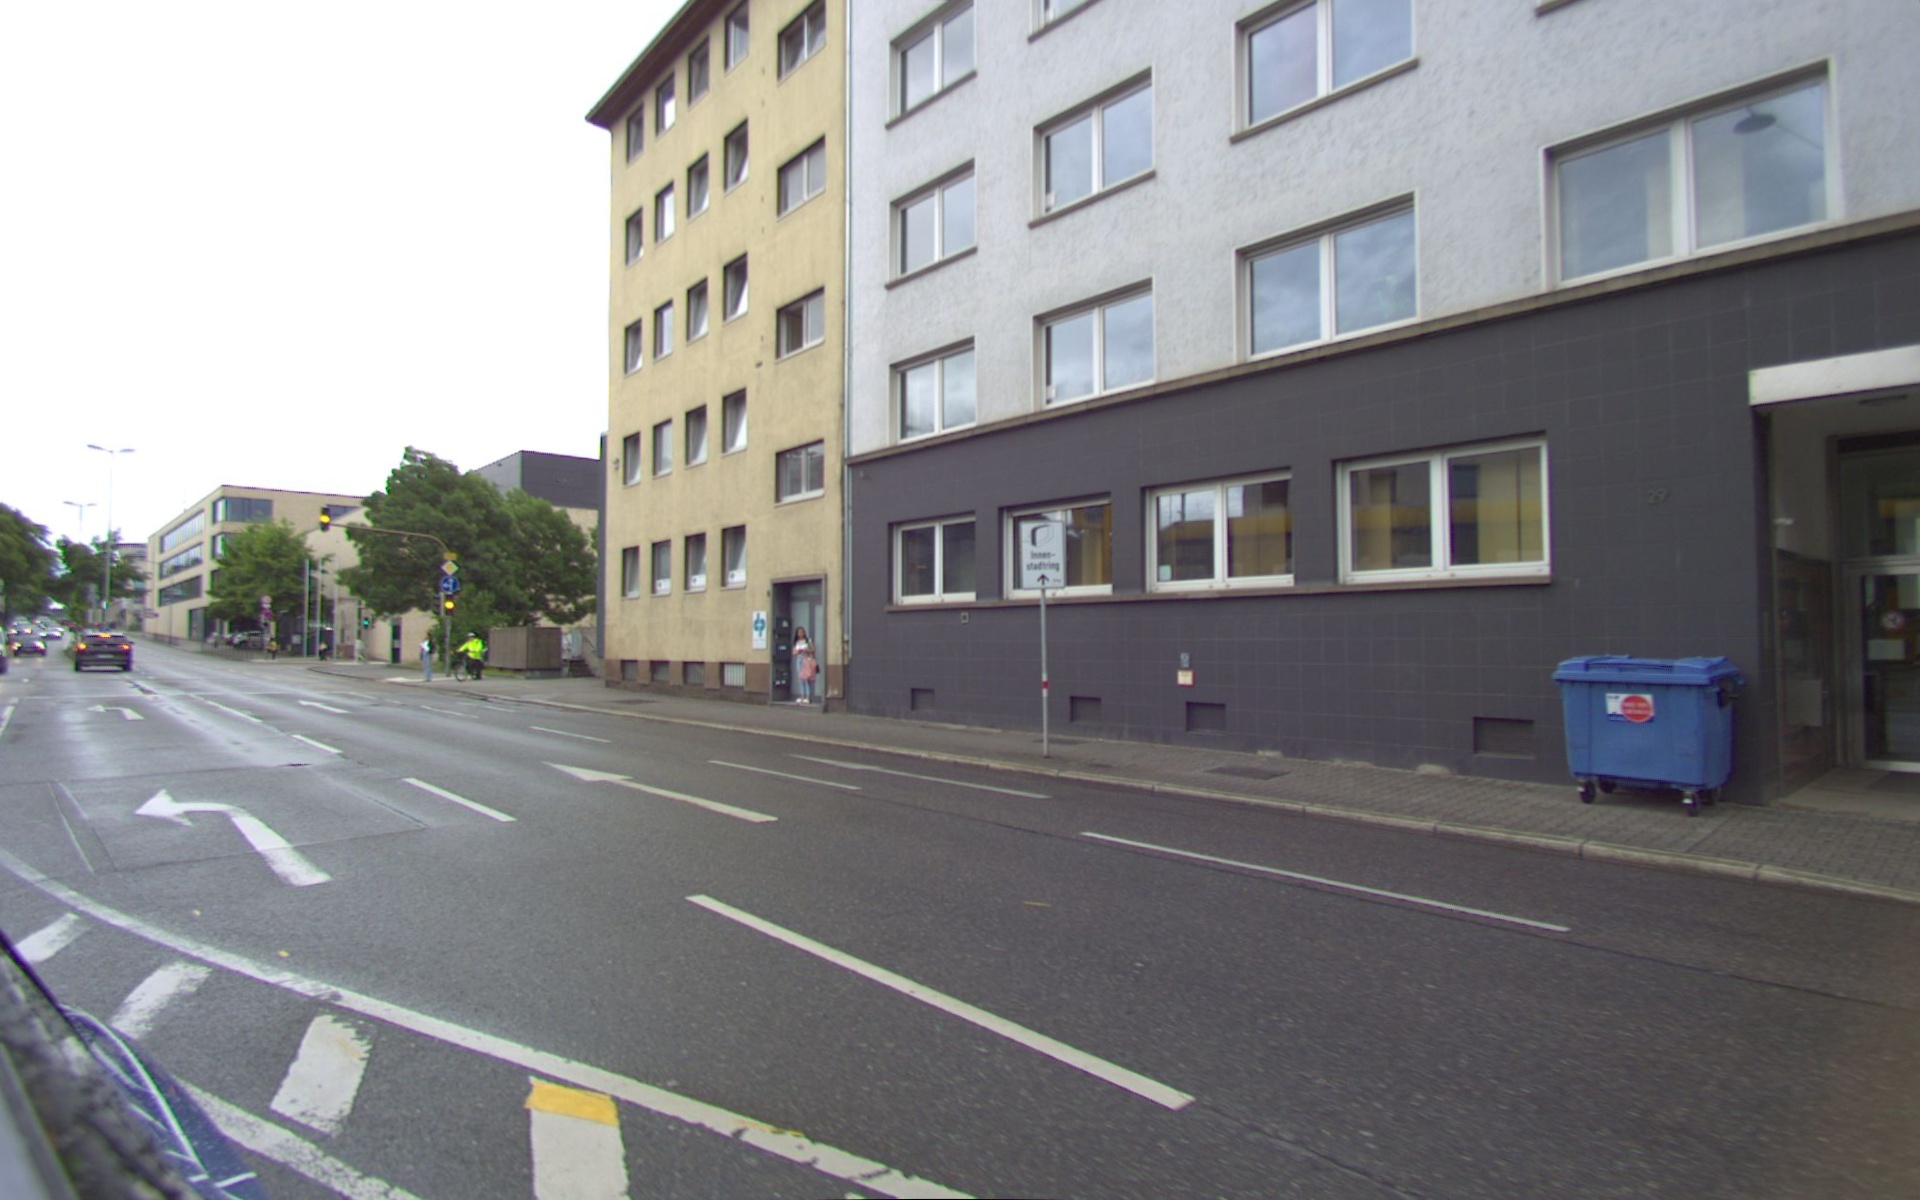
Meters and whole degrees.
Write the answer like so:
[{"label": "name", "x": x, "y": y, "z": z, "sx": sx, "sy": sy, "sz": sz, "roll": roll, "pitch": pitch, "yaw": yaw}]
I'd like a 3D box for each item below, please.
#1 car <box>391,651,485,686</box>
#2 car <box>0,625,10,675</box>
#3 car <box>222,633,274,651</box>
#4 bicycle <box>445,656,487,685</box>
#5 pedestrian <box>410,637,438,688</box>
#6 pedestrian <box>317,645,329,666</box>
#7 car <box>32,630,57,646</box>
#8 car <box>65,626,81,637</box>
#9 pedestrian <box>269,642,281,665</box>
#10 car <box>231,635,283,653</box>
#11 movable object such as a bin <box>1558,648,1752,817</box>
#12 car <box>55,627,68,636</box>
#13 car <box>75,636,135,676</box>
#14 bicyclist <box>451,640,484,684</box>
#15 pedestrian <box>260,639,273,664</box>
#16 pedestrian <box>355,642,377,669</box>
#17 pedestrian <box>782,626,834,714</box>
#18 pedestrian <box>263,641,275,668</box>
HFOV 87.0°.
[{"label": "car", "x": -32.563, "y": 4.313, "z": 63.235, "sx": 2.001, "sy": 1.940, "sz": 4.722, "roll": -2, "pitch": -7, "yaw": 45}, {"label": "car", "x": -37.010, "y": 1.895, "z": 38.009, "sx": 1.778, "sy": 1.842, "sz": 3.955, "roll": 0, "pitch": -2, "yaw": -41}, {"label": "car", "x": -68.404, "y": 4.040, "z": 97.235, "sx": 3.936, "sy": 1.597, "sz": 2.004, "roll": 0, "pitch": -2, "yaw": -38}, {"label": "bicycle", "x": -16.982, "y": 2.410, "z": 34.759, "sx": 0.874, "sy": 0.914, "sz": 1.869, "roll": 0, "pitch": -2, "yaw": -40}, {"label": "pedestrian", "x": -18.669, "y": 2.160, "z": 35.229, "sx": 0.708, "sy": 1.702, "sz": 0.812, "roll": 0, "pitch": -2, "yaw": -40}, {"label": "pedestrian", "x": -42.731, "y": 3.713, "z": 67.846, "sx": 0.613, "sy": 1.386, "sz": 0.475, "roll": 0, "pitch": -2, "yaw": -42}, {"label": "car", "x": -103.302, "y": 4.263, "z": 114.193, "sx": 1.970, "sy": 1.796, "sz": 4.002, "roll": 1, "pitch": -2, "yaw": -45}, {"label": "car", "x": -136.936, "y": 4.863, "z": 156.222, "sx": 1.651, "sy": 1.481, "sz": 4.304, "roll": 6, "pitch": -6, "yaw": -44}, {"label": "pedestrian", "x": -47.147, "y": 3.688, "z": 69.679, "sx": 0.587, "sy": 1.528, "sz": 0.693, "roll": 1, "pitch": -2, "yaw": -43}, {"label": "car", "x": -66.391, "y": 4.146, "z": 95.542, "sx": 3.936, "sy": 1.597, "sz": 2.004, "roll": 0, "pitch": -2, "yaw": -38}, {"label": "movable object such as a bin", "x": 6.218, "y": 1.121, "z": 9.067, "sx": 1.063, "sy": 1.334, "sz": 1.192, "roll": 0, "pitch": -2, "yaw": -42}, {"label": "car", "x": -174.995, "y": 6.107, "z": 197.052, "sx": 1.651, "sy": 1.620, "sz": 4.304, "roll": 7, "pitch": -6, "yaw": -44}, {"label": "car", "x": -35.878, "y": 2.334, "z": 42.434, "sx": 1.785, "sy": 1.607, "sz": 4.301, "roll": 3, "pitch": -4, "yaw": -41}, {"label": "bicyclist", "x": -16.888, "y": 2.119, "z": 34.695, "sx": 0.831, "sy": 1.453, "sz": 0.814, "roll": 0, "pitch": -2, "yaw": -40}, {"label": "pedestrian", "x": -48.414, "y": 3.596, "z": 70.635, "sx": 0.692, "sy": 1.744, "sz": 0.587, "roll": -2, "pitch": -2, "yaw": 43}, {"label": "pedestrian", "x": -39.039, "y": 3.638, "z": 66.544, "sx": 1.097, "sy": 1.713, "sz": 0.808, "roll": 1, "pitch": -2, "yaw": -45}, {"label": "pedestrian", "x": -3.063, "y": 1.391, "z": 20.361, "sx": 0.708, "sy": 1.702, "sz": 0.812, "roll": 0, "pitch": -2, "yaw": -40}, {"label": "pedestrian", "x": -46.688, "y": 3.672, "z": 68.390, "sx": 0.587, "sy": 1.785, "sz": 0.693, "roll": 1, "pitch": -2, "yaw": -43}]
